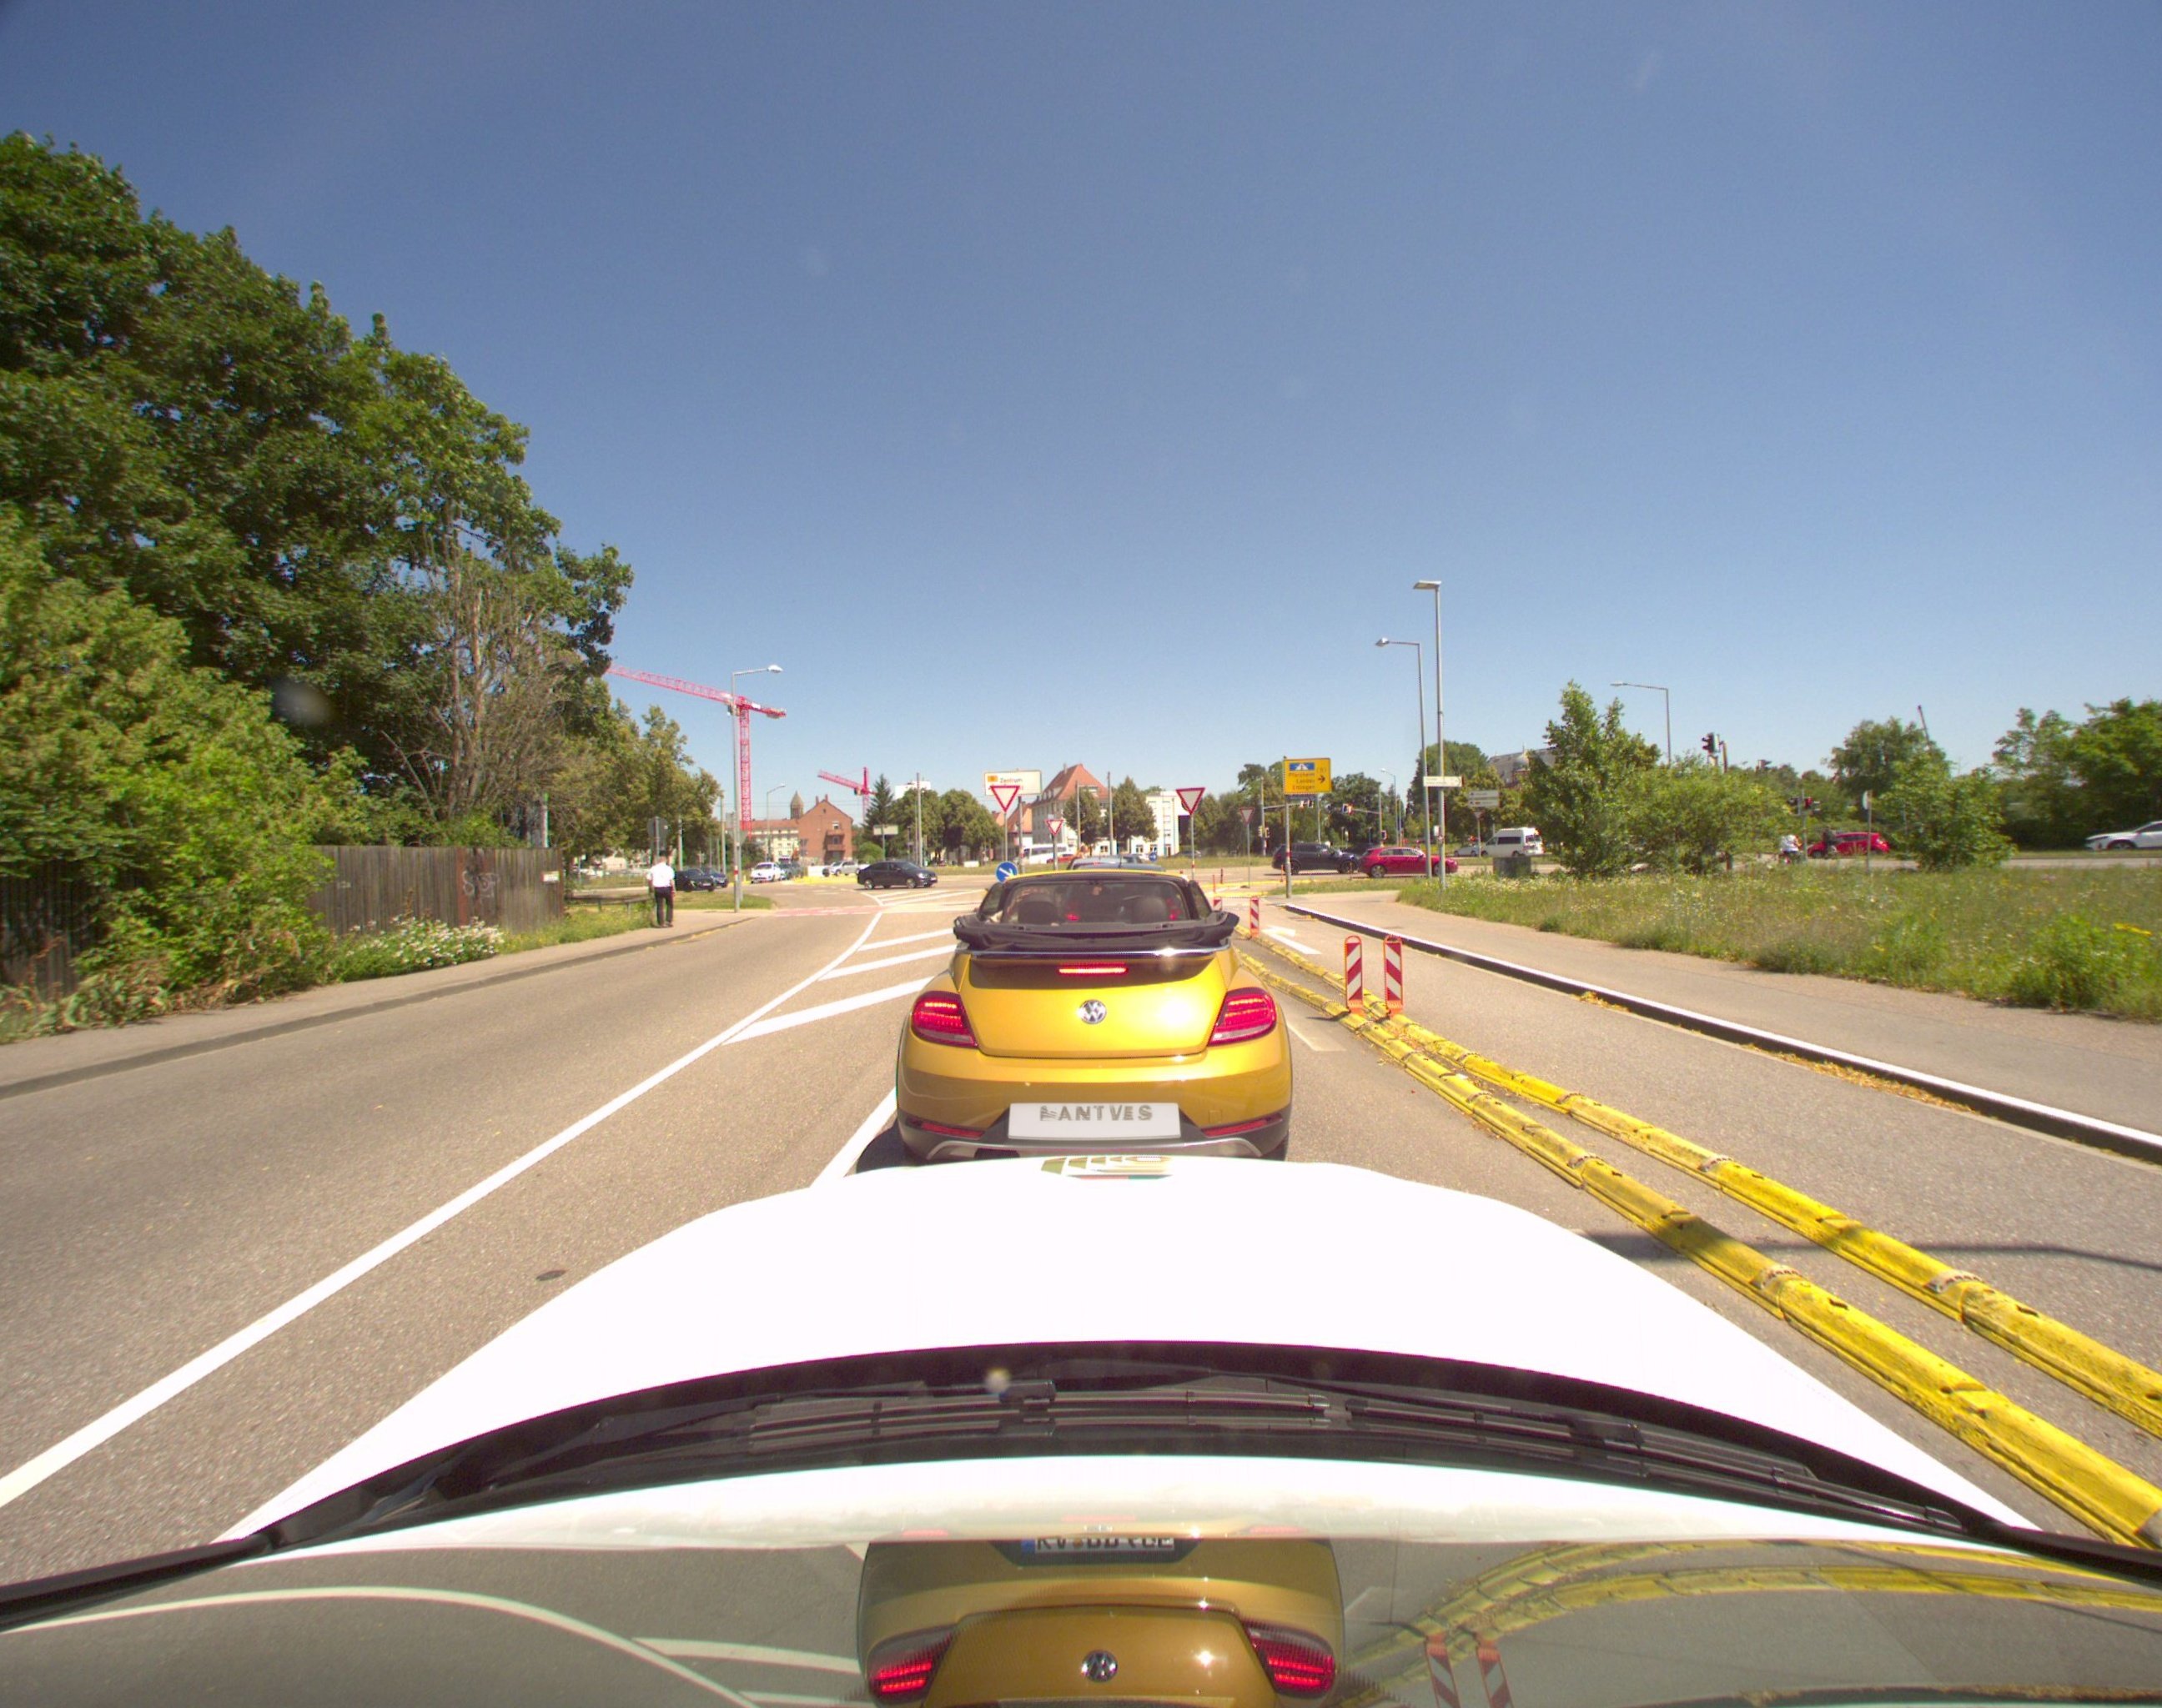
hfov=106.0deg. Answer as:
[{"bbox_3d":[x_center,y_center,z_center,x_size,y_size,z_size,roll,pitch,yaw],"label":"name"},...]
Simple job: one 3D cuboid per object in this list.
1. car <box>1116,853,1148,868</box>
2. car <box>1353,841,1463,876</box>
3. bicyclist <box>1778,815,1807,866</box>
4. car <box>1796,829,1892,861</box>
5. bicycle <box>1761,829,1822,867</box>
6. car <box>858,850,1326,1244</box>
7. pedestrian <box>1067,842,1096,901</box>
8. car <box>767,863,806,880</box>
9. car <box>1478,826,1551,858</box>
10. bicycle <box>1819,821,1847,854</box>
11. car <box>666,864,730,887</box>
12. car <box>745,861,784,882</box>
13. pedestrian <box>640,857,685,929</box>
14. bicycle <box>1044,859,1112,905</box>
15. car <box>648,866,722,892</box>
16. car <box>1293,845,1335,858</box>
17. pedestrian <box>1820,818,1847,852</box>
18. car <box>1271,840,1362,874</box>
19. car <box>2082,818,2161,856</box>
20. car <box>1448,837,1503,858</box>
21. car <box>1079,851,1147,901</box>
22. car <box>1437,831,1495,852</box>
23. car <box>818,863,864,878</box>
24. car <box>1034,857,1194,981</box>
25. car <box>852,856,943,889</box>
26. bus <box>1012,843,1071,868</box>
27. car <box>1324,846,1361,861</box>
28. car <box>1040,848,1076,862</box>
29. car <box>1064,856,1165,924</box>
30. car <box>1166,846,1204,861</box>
[{"bbox_3d":[6.570,0.835,104.765,3.965,1.772,1.790,0,-1,7],"label":"car"},{"bbox_3d":[14.975,0.217,37.514,4.378,1.527,2.005,-1,-1,9],"label":"car"},{"bbox_3d":[25.766,-0.474,29.506,0.573,1.841,0.603,0,-1,-29],"label":"bicyclist"},{"bbox_3d":[44.889,-0.488,47.978,1.672,1.817,3.893,0,-1,-39],"label":"car"},{"bbox_3d":[25.773,-0.216,29.507,2.902,1.353,0.635,0,-1,-28],"label":"bicycle"},{"bbox_3d":[0.103,0.747,5.208,1.758,1.481,4.259,0,-1,2],"label":"car"},{"bbox_3d":[0.019,0.511,23.957,0.728,1.691,0.577,-1,-1,11],"label":"pedestrian"},{"bbox_3d":[-25.179,1.504,69.735,1.740,1.371,4.332,0,0,1],"label":"car"},{"bbox_3d":[33.667,-0.898,63.450,1.991,2.397,5.301,0,-1,-15],"label":"car"},{"bbox_3d":[38.010,-0.819,41.150,0.972,1.597,2.900,-1,-1,43],"label":"bicycle"},{"bbox_3d":[-26.872,1.512,57.142,3.955,1.552,1.736,-1,-1,18],"label":"car"},{"bbox_3d":[-24.748,1.350,63.731,1.773,1.527,3.866,-2,0,-5],"label":"car"},{"bbox_3d":[-10.634,0.970,20.703,0.634,1.786,0.969,0,-1,0],"label":"pedestrian"},{"bbox_3d":[-0.083,0.822,23.962,1.830,1.231,0.615,-3,-1,12],"label":"bicycle"},{"bbox_3d":[-24.649,1.569,50.686,3.957,1.552,1.735,-1,-1,15],"label":"car"},{"bbox_3d":[25.627,-0.249,89.701,1.759,1.371,4.284,0,-1,-35],"label":"car"},{"bbox_3d":[37.911,-0.947,41.041,0.959,1.660,0.892,-1,-1,44],"label":"pedestrian"},{"bbox_3d":[12.255,0.165,42.634,4.378,1.595,2.006,-2,0,9],"label":"car"},{"bbox_3d":[50.001,-0.791,37.688,4.389,1.736,1.860,-1,-1,43],"label":"car"},{"bbox_3d":[39.348,-0.631,81.353,1.990,1.962,5.303,0,-1,-14],"label":"car"},{"bbox_3d":[1.068,0.676,27.661,2.057,1.481,4.545,-2,0,2],"label":"car"},{"bbox_3d":[38.391,-1.195,81.400,1.997,1.962,5.286,0,-1,-24],"label":"car"},{"bbox_3d":[-23.257,1.566,79.097,1.711,1.402,4.297,-1,-1,29],"label":"car"},{"bbox_3d":[0.453,0.779,11.749,1.844,1.366,4.260,-2,0,2],"label":"car"},{"bbox_3d":[-9.574,0.968,42.522,4.293,1.552,1.737,-2,1,20],"label":"car"},{"bbox_3d":[-5.091,0.194,103.935,7.253,3.172,2.253,0,-1,-10],"label":"bus"},{"bbox_3d":[29.912,-0.051,93.387,1.880,1.614,4.305,0,-1,-17],"label":"car"},{"bbox_3d":[-2.849,0.112,100.505,4.416,1.736,1.848,0,-1,-1],"label":"car"},{"bbox_3d":[0.748,0.747,18.705,2.057,1.382,4.259,0,-1,2],"label":"car"},{"bbox_3d":[12.639,-0.013,99.264,4.400,1.736,1.855,-1,-1,12],"label":"car"}]
